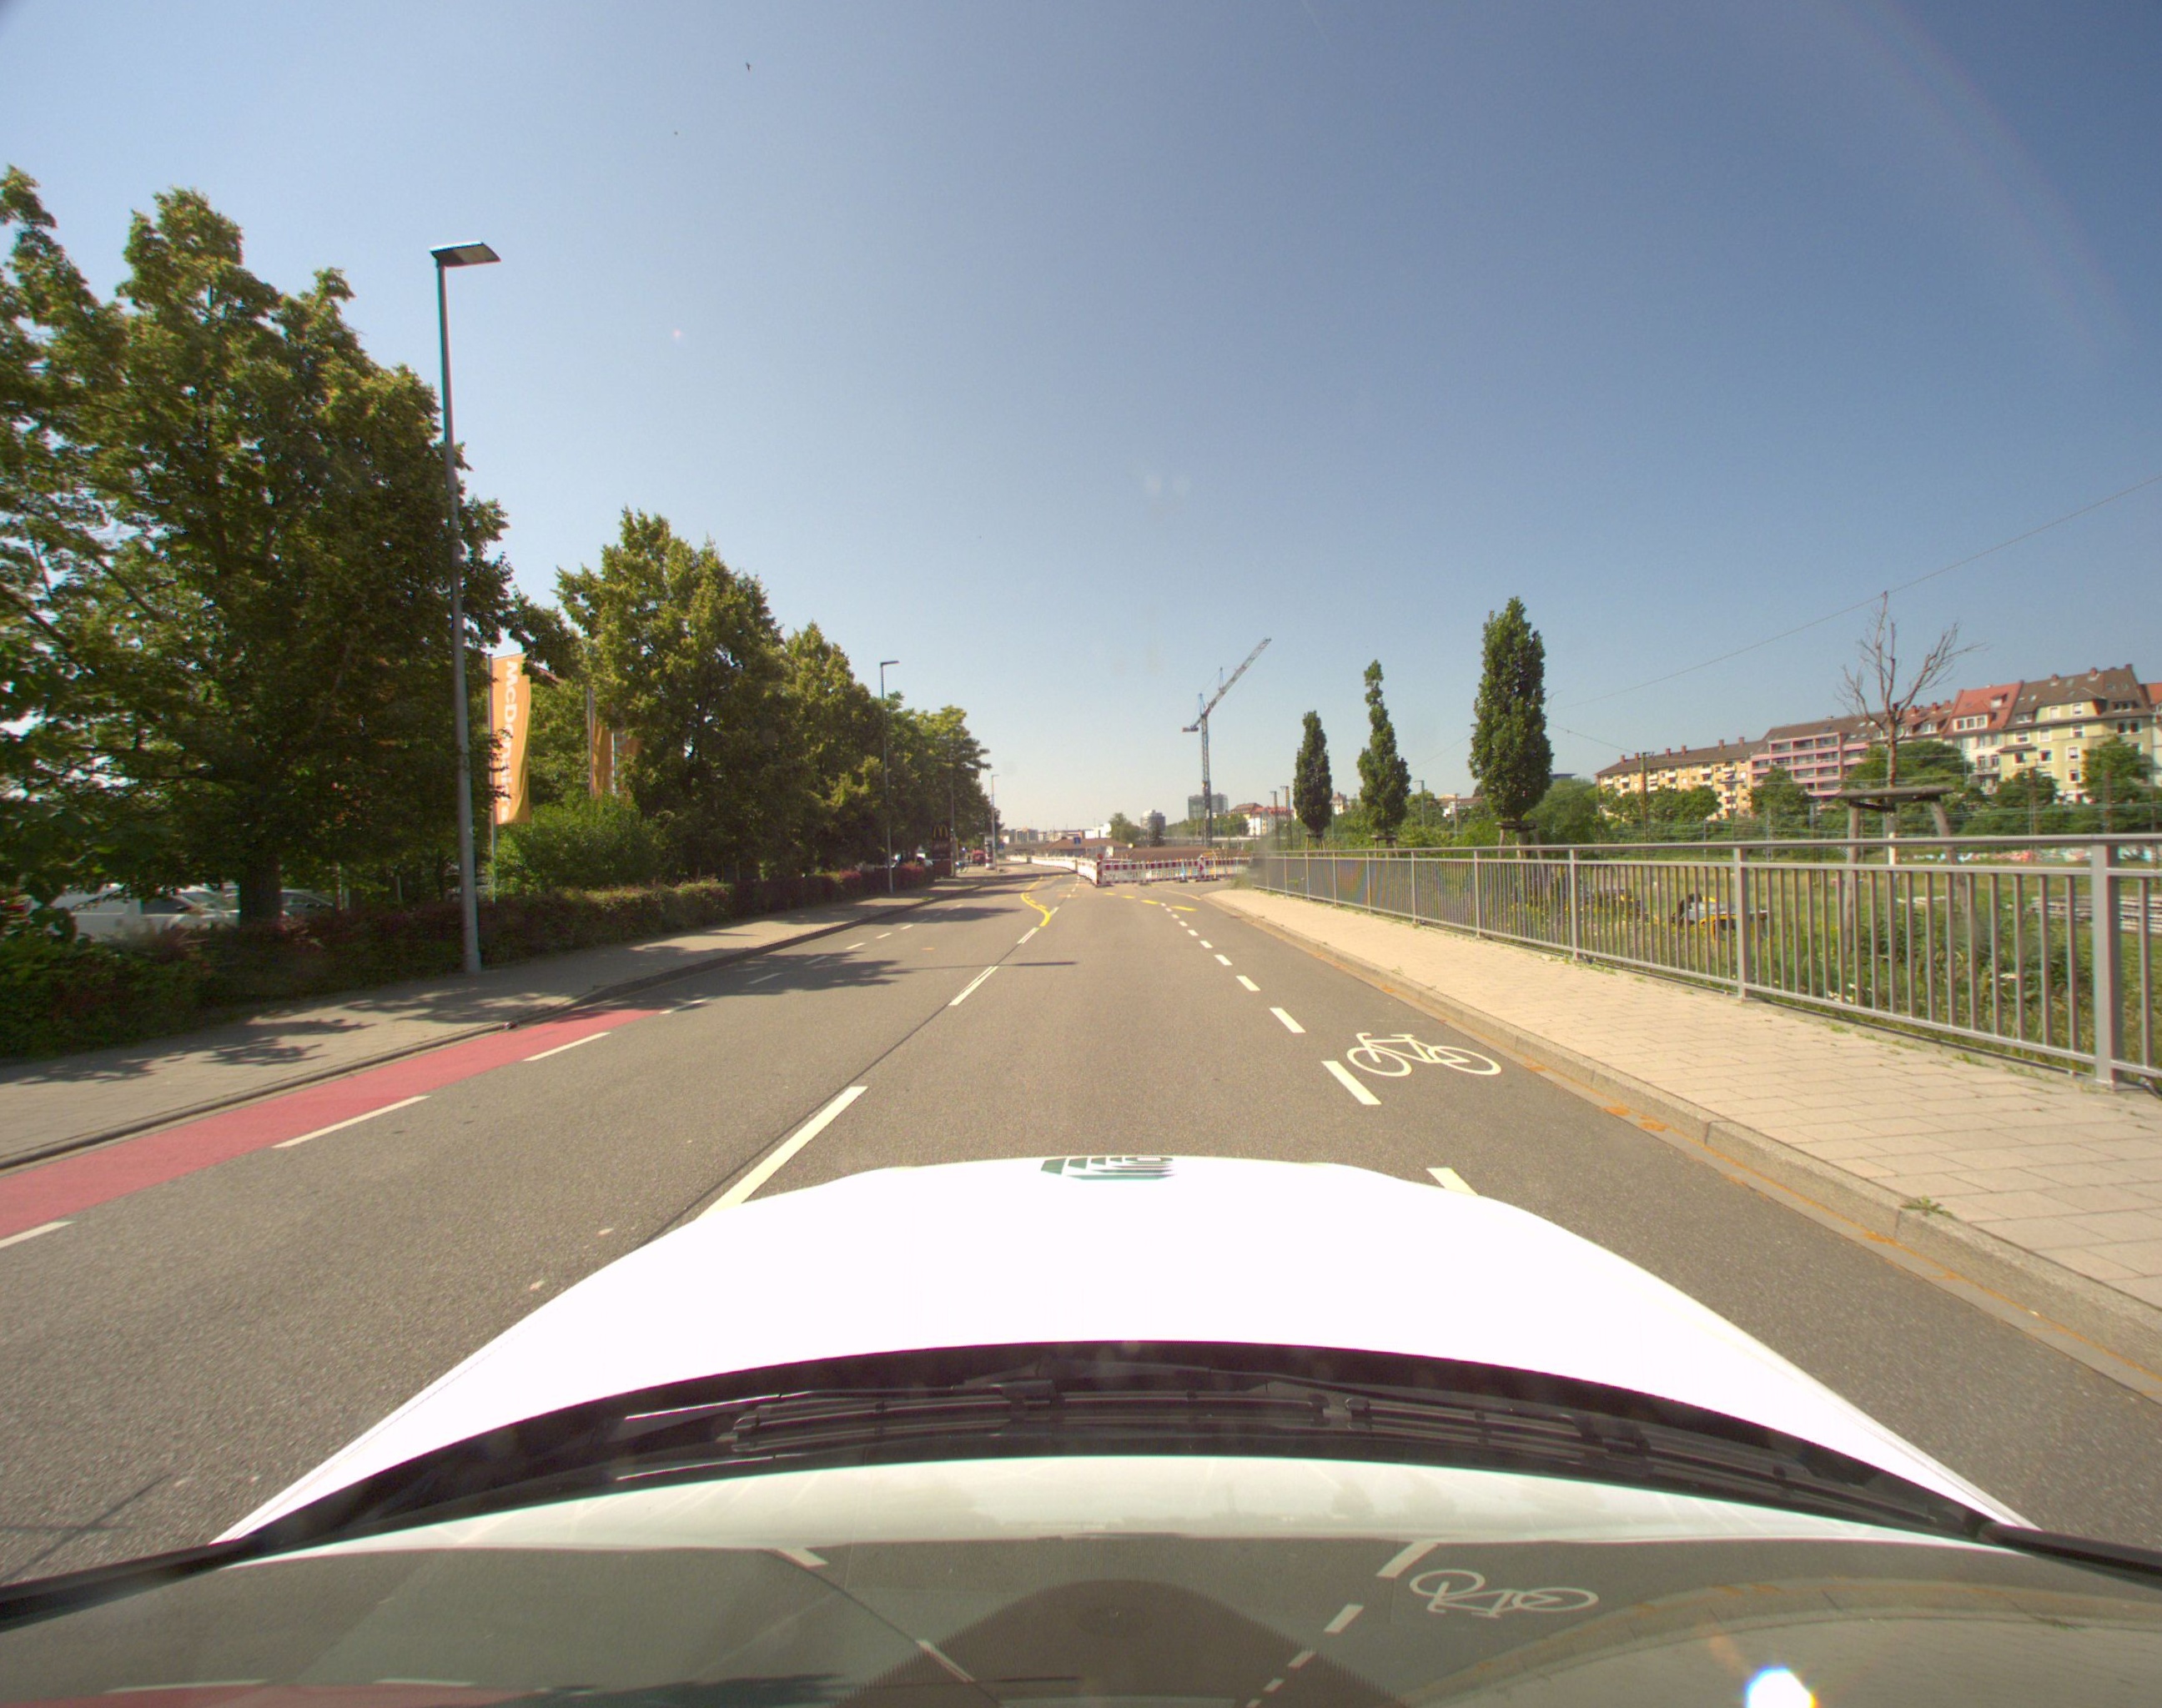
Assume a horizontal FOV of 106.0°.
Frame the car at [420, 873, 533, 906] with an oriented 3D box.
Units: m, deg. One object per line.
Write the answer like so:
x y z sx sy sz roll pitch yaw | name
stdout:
-31.863 1.862 43.078 4.279 1.438 1.989 -3 0 -16 | car

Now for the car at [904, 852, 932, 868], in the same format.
-20.829 0.746 104.134 1.838 1.929 3.954 -2 0 -39 | car

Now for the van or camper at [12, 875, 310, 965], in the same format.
-21.883 1.503 19.615 4.279 1.740 1.989 -3 0 -16 | van or camper
